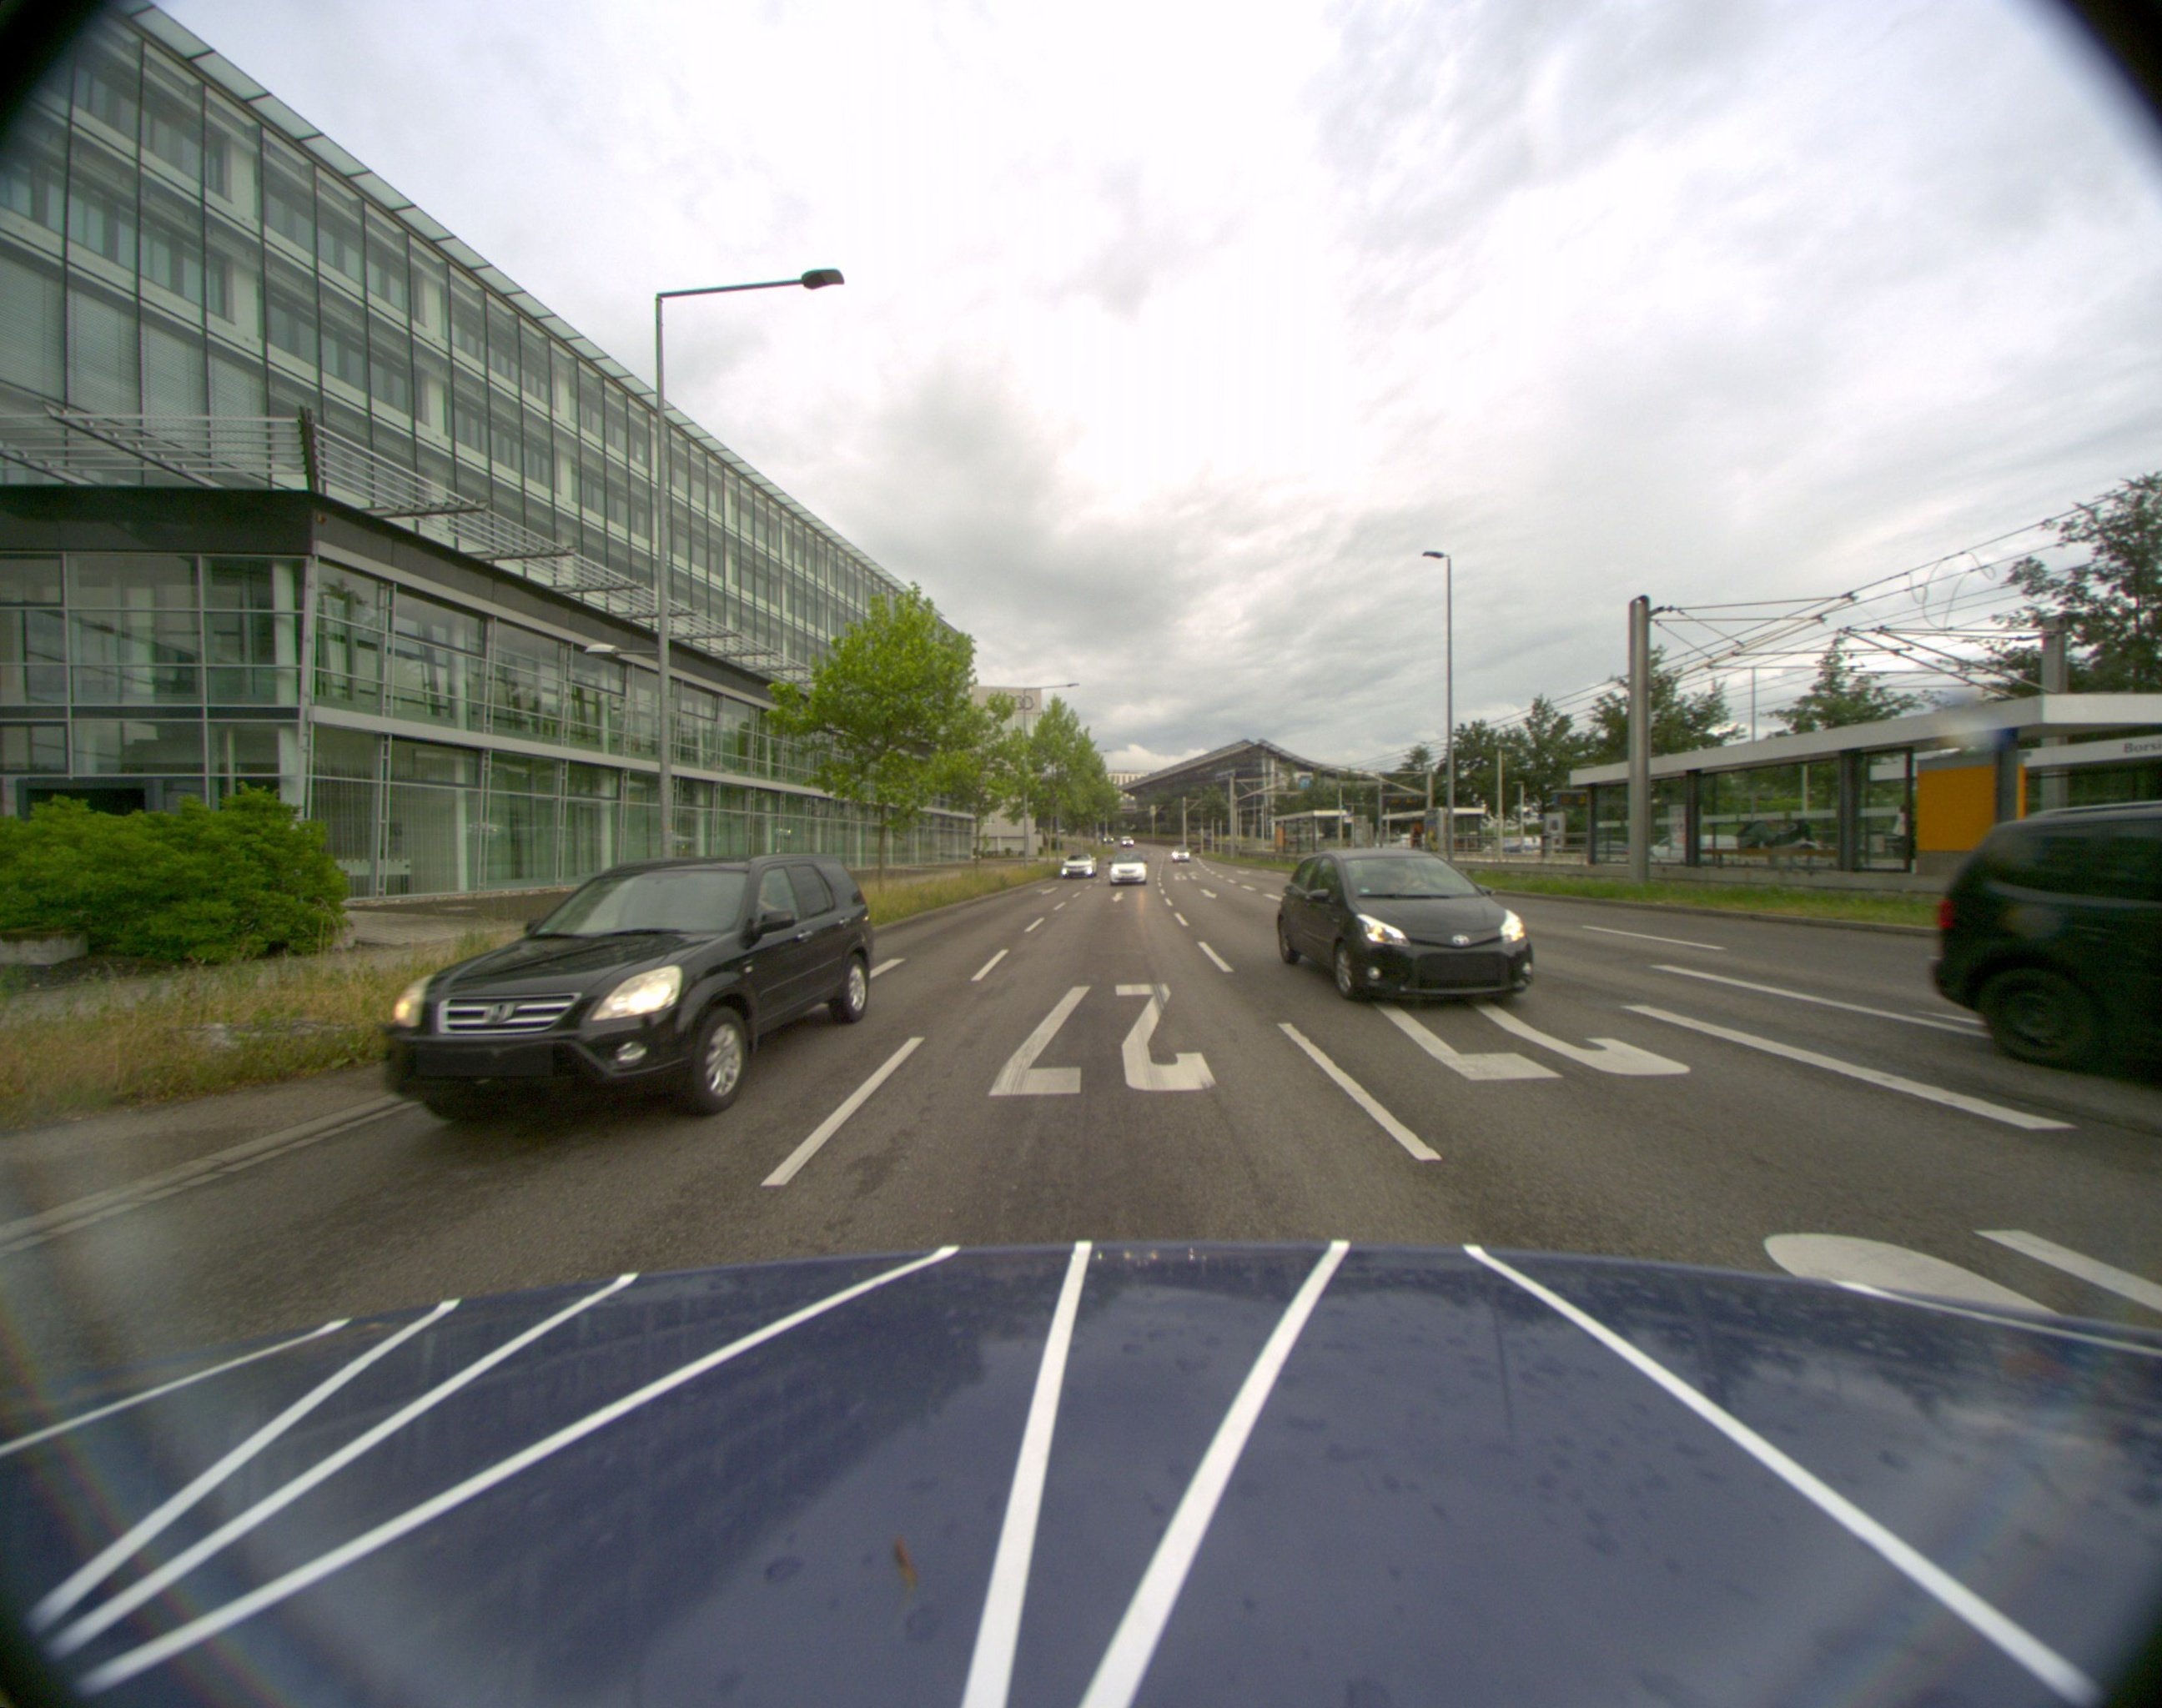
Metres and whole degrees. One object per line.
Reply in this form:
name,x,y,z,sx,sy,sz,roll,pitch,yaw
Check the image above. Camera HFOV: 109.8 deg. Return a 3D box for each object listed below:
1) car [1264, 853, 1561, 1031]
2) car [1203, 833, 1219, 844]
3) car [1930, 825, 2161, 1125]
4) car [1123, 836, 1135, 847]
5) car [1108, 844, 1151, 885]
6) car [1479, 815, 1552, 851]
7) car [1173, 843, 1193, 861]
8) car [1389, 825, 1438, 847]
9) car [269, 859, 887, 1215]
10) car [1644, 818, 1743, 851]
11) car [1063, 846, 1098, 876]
car,3.356,0.783,8.573,1.697,1.514,3.905,-2,0,2
car,23.171,-2.820,135.896,1.999,1.837,3.998,-3,2,-2
car,6.686,0.661,3.130,1.731,1.583,4.192,-3,1,2
car,8.414,-2.185,133.142,1.829,1.701,4.152,-3,2,1
car,2.272,0.432,36.373,1.805,1.713,3.999,-3,2,1
car,29.042,-1.381,50.963,1.998,2.202,5.143,-3,2,1
car,9.459,-0.200,70.661,1.739,1.470,4.001,-2,1,6
car,28.915,-1.556,66.250,1.999,1.721,5.028,-3,2,-1
car,-3.080,0.947,5.973,1.770,1.620,4.324,-3,1,2
car,35.611,-1.140,44.347,2.110,1.690,4.665,-3,2,2
car,0.003,0.386,46.598,1.998,1.669,3.821,-2,2,1
